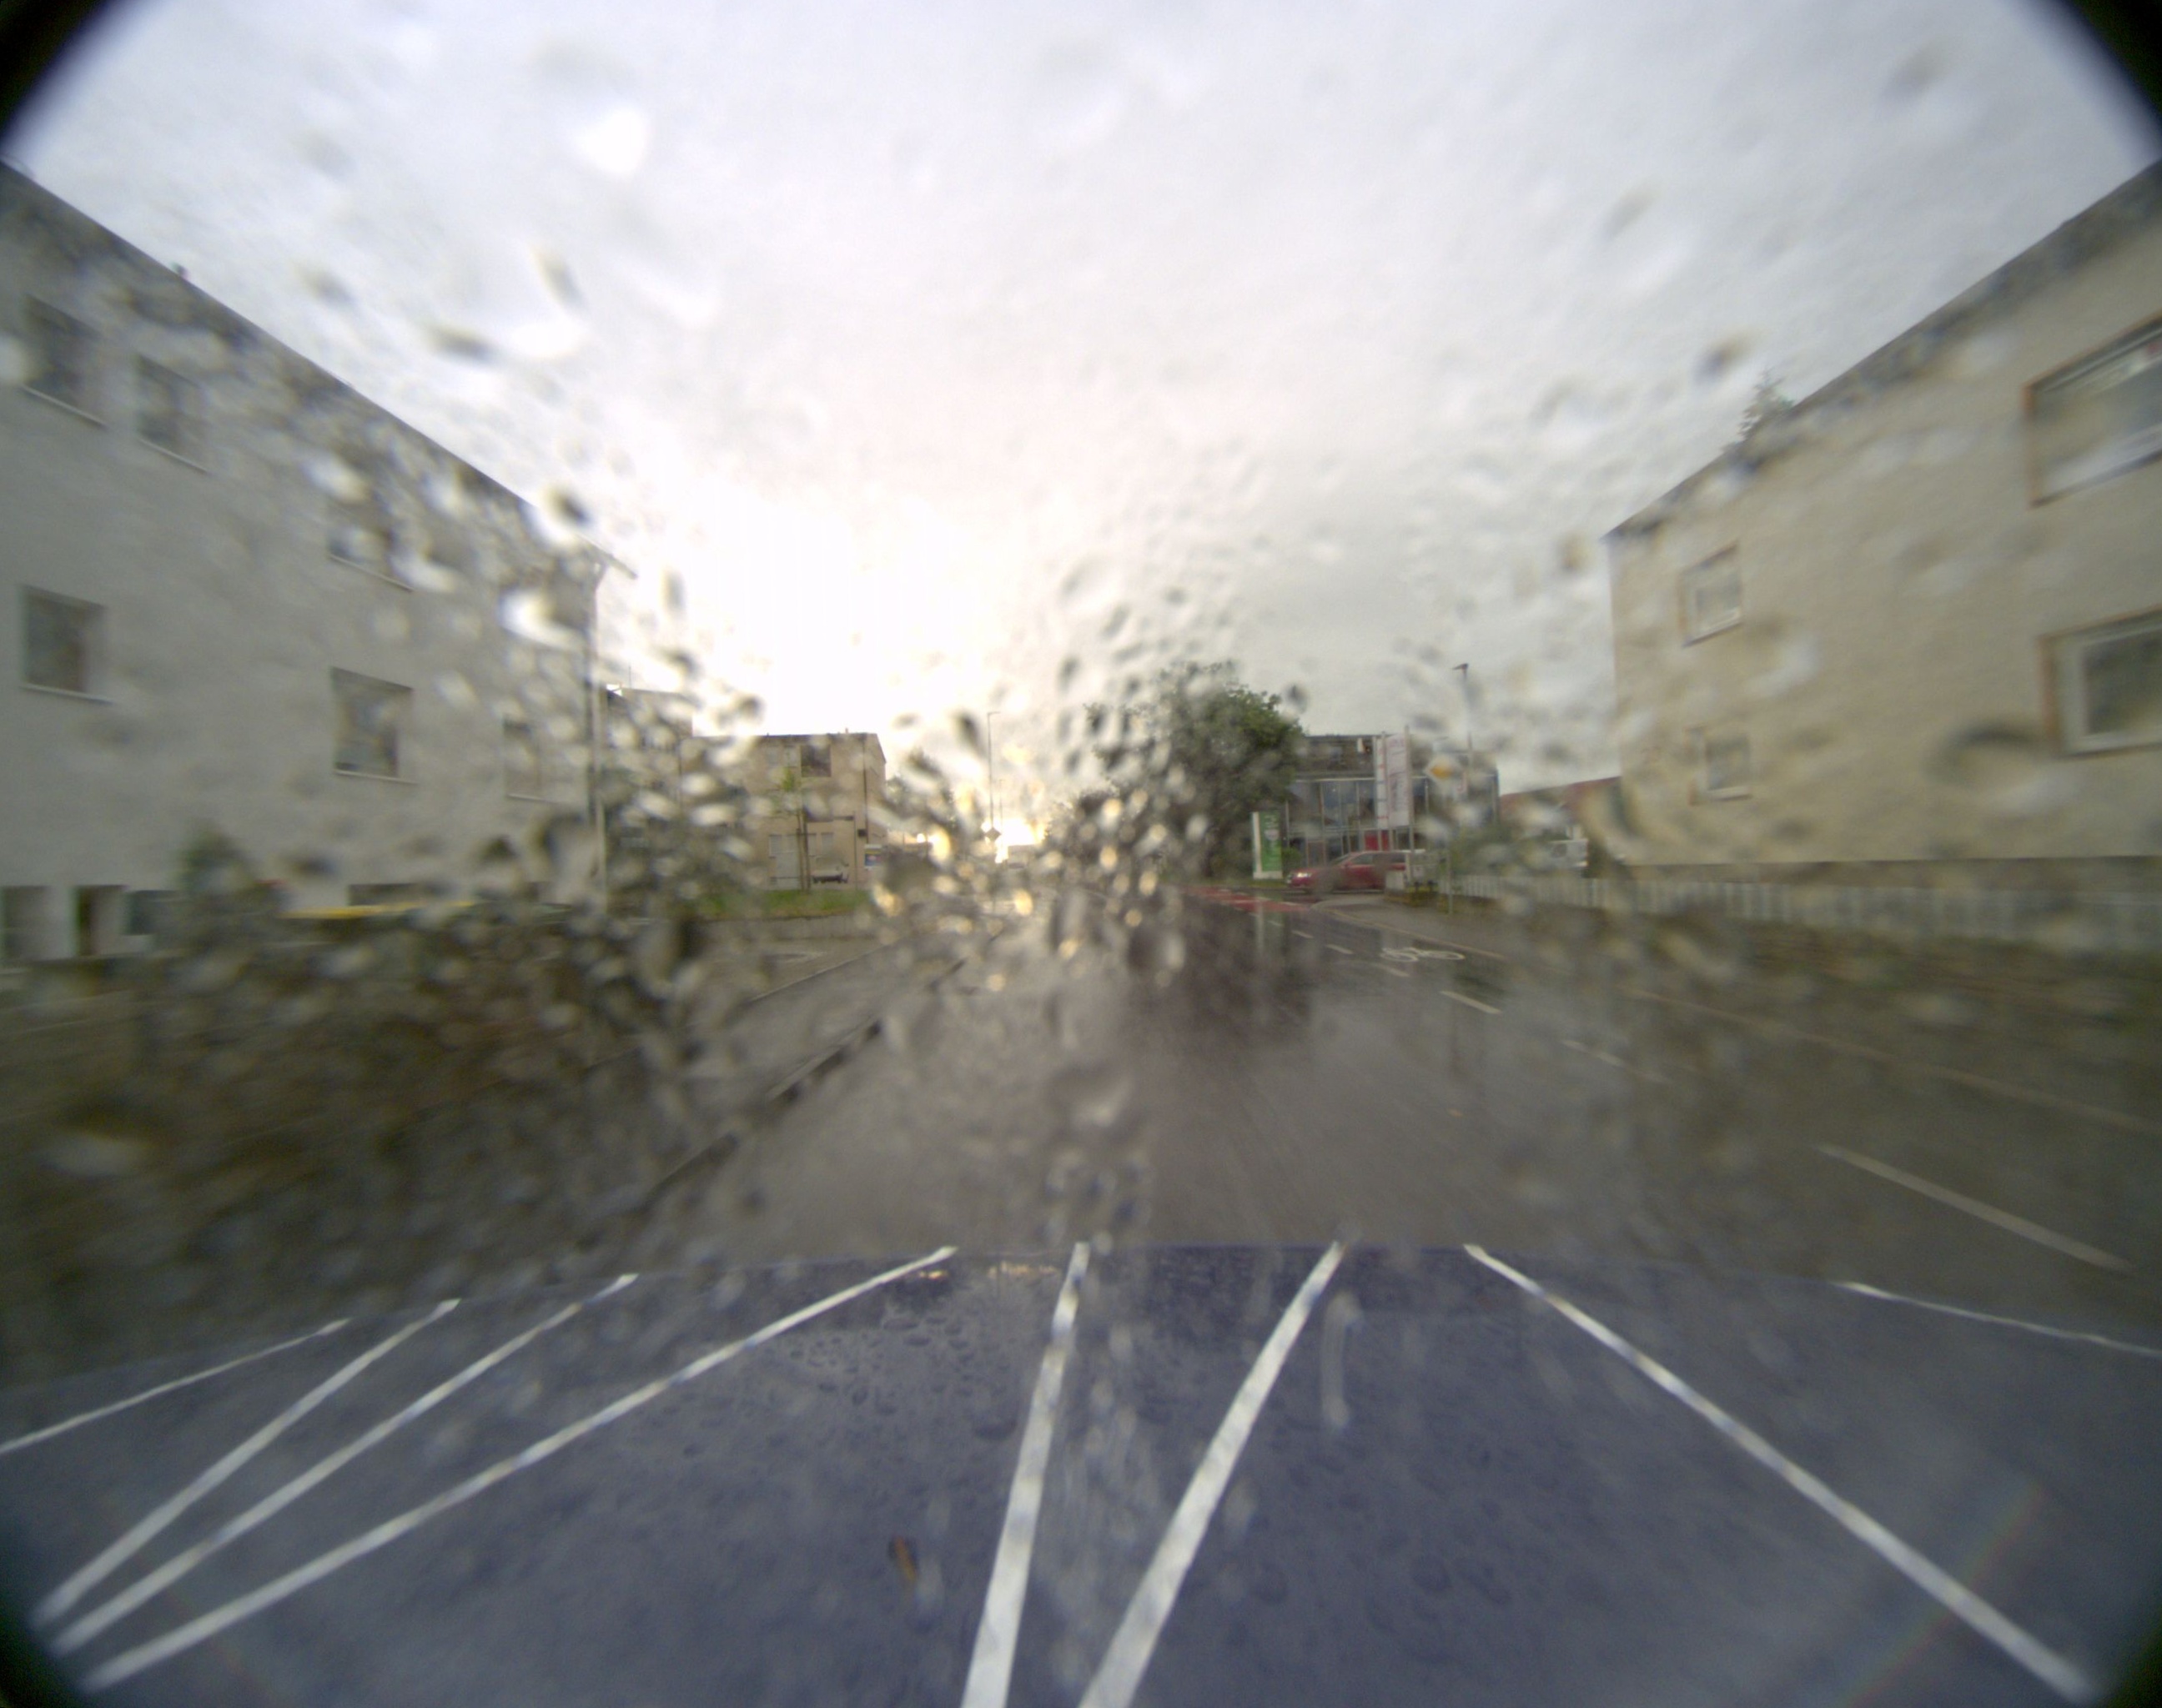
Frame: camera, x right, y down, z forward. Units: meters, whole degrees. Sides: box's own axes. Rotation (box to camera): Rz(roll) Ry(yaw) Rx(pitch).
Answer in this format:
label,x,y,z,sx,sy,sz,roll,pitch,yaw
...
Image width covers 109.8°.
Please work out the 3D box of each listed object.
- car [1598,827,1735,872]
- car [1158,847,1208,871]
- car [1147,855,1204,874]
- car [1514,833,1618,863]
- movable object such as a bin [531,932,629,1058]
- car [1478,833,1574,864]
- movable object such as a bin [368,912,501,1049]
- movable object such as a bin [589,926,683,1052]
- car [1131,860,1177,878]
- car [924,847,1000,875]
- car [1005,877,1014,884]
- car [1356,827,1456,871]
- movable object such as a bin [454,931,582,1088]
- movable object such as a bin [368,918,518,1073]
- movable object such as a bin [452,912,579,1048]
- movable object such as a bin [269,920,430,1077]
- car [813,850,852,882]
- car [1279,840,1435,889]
label,x,y,z,sx,sy,sz,roll,pitch,yaw
car,28.078,-0.173,36.520,5.075,1.758,1.880,-4,-2,-2
car,6.394,0.287,47.731,2.917,1.447,1.252,-1,1,-6
car,6.957,0.767,56.137,3.912,1.276,1.581,-1,-1,-6
car,26.732,-0.307,41.931,4.565,1.558,2.177,-1,0,-10
movable object such as a bin,-4.097,1.133,6.239,0.426,0.934,0.508,-4,-2,-1
car,26.497,-0.304,45.327,4.563,1.780,2.045,-1,0,-6
movable object such as a bin,-5.355,1.022,6.322,0.529,1.021,0.632,-4,-2,-1
movable object such as a bin,-3.630,1.087,6.225,0.426,0.934,0.508,-4,-2,-1
car,5.030,1.029,52.609,2.917,1.152,1.471,-1,-1,-6
car,-8.342,0.514,53.112,5.102,1.908,2.058,-1,0,31
car,-16.680,6.250,177.763,1.856,1.545,4.501,-3,-2,-7
car,17.560,-0.233,41.121,4.411,2.001,2.153,-3,-2,-10
movable object such as a bin,-4.113,1.106,5.584,0.426,1.021,0.632,-4,-2,-1
movable object such as a bin,-4.692,1.013,5.624,0.546,1.021,0.632,-4,-2,-1
movable object such as a bin,-4.689,1.021,6.333,0.546,1.021,0.632,-4,-2,-1
movable object such as a bin,-5.374,1.034,5.617,0.546,1.021,0.632,-4,-2,-1
car,-17.424,0.880,53.424,1.800,2.001,4.599,-3,-2,-9
car,9.366,0.349,26.035,4.655,1.558,1.874,-1,0,-3
